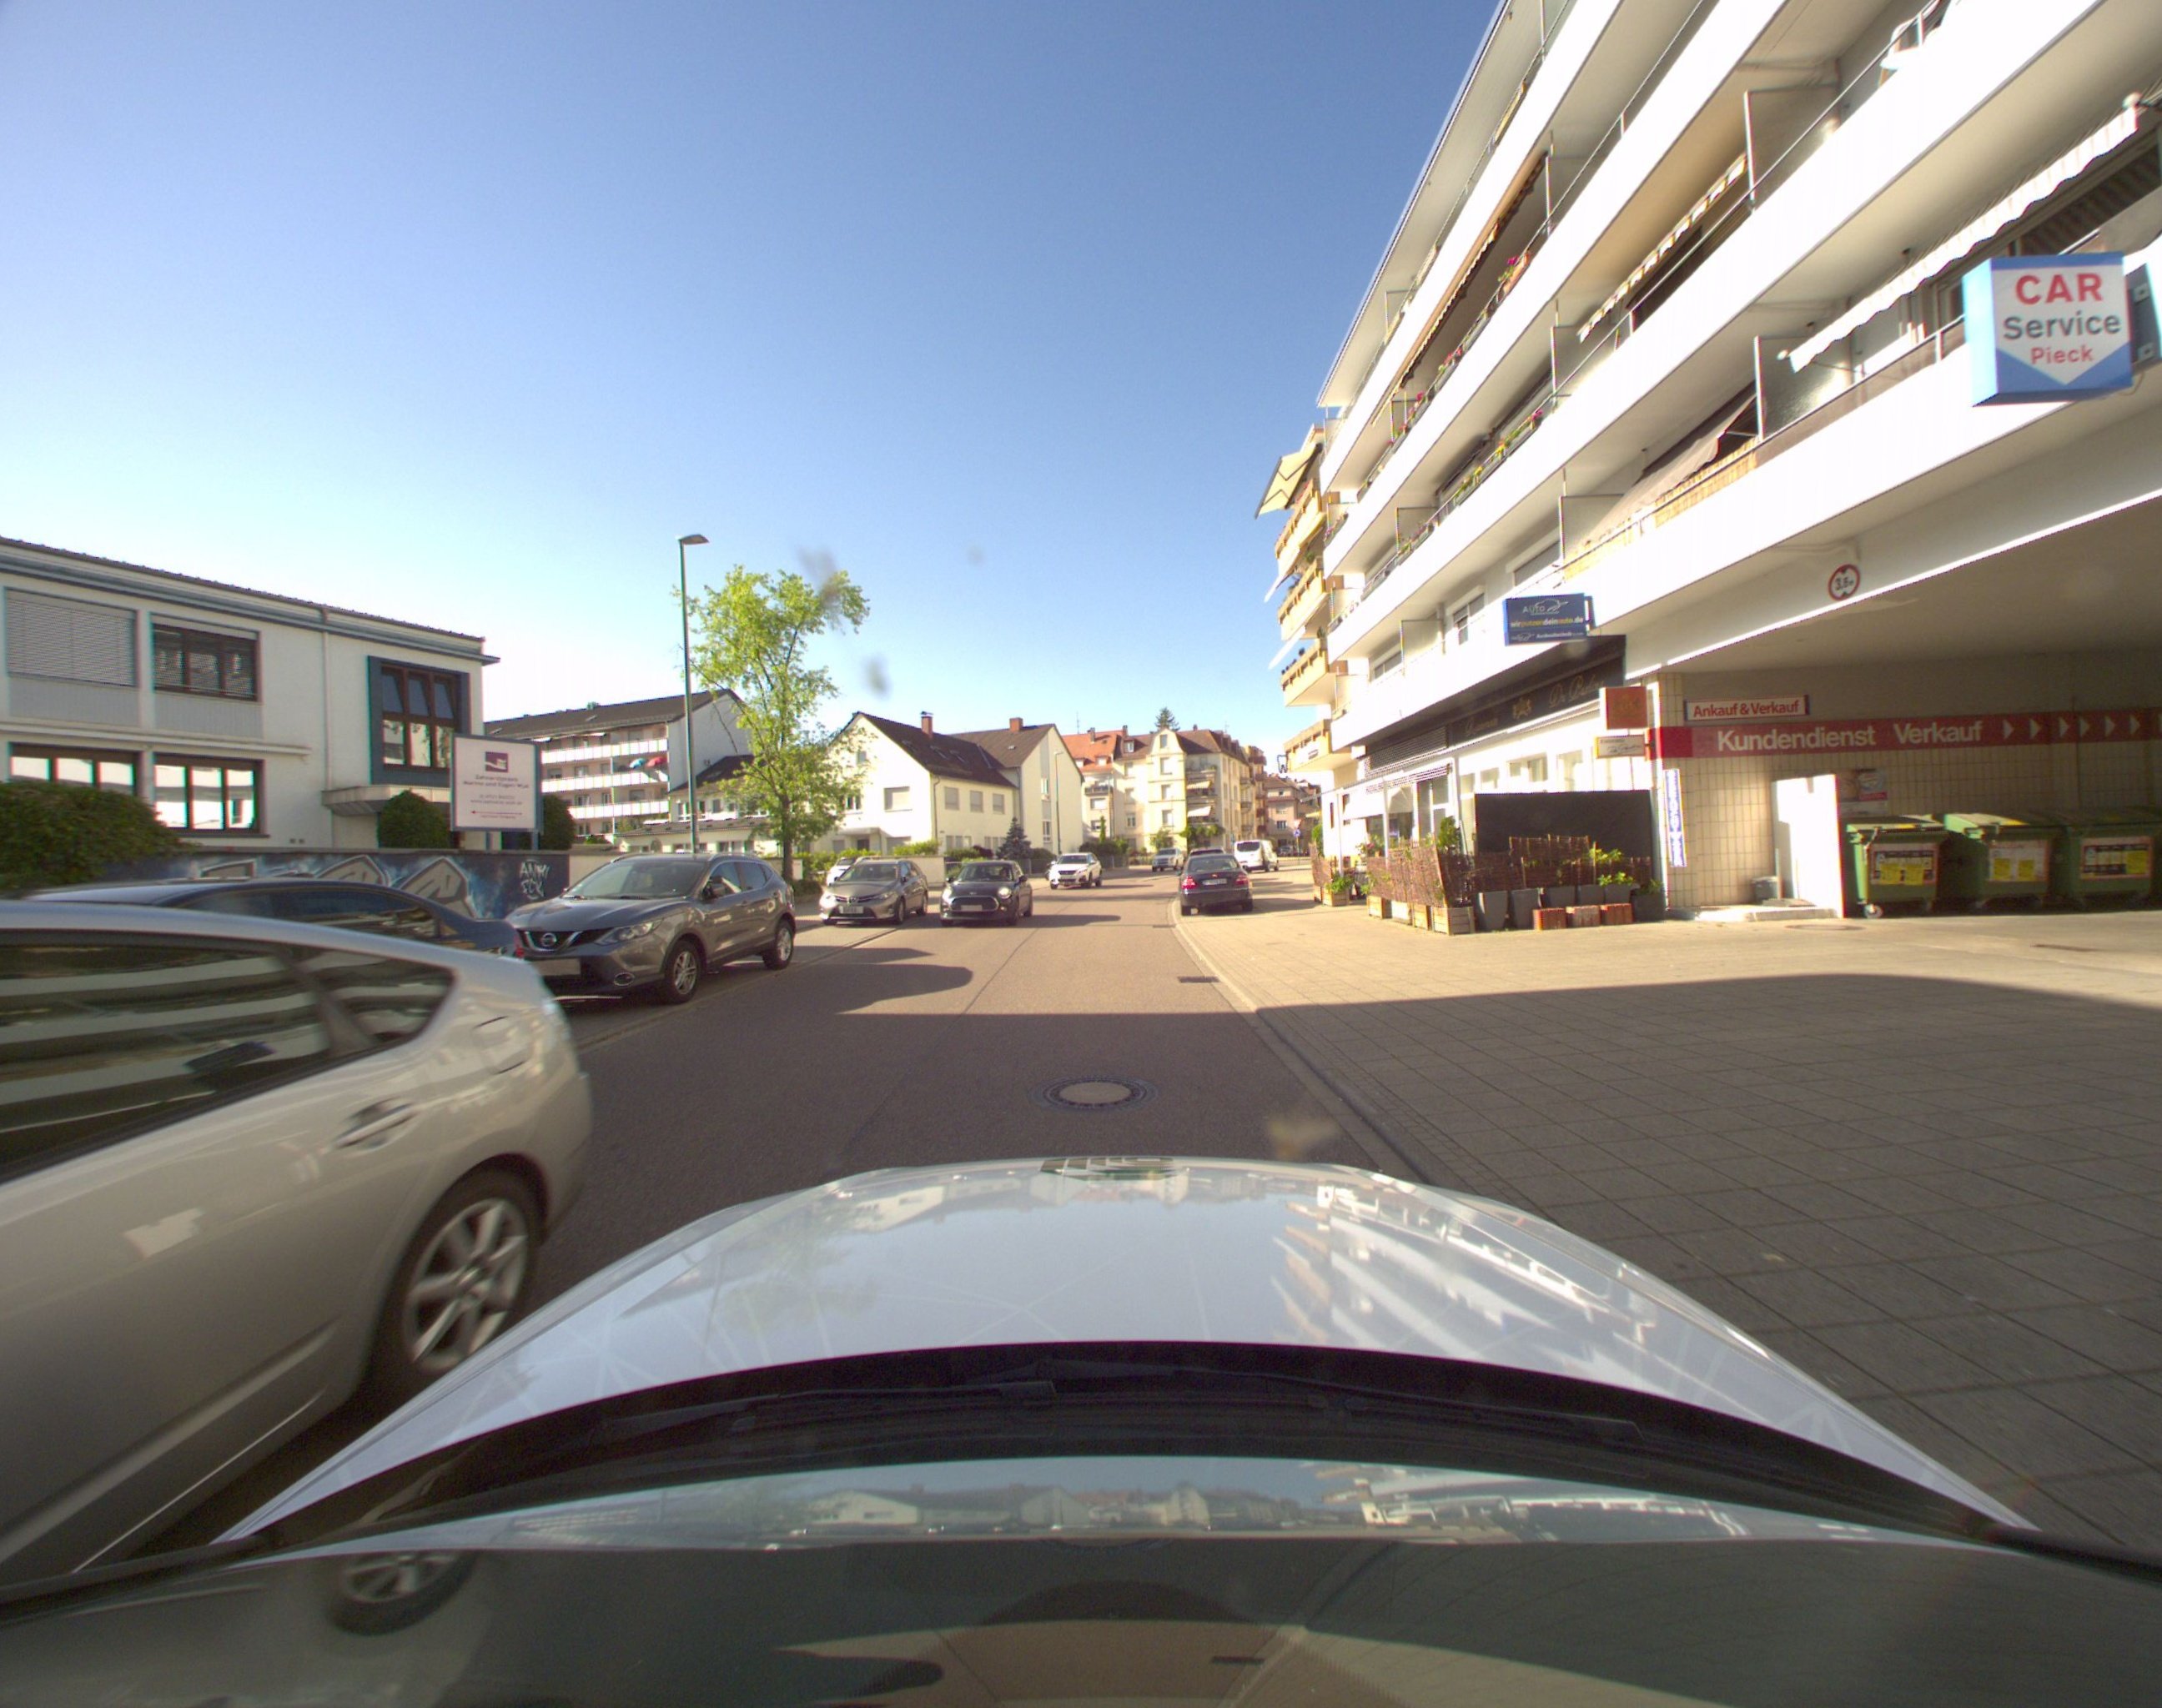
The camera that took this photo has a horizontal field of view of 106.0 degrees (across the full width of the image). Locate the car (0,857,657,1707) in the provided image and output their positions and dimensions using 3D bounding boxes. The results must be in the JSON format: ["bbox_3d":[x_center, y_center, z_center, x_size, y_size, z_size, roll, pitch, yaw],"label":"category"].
[{"bbox_3d":[-2.586,0.780,1.088,1.719,1.485,4.108,-2,0,2],"label":"car"}]

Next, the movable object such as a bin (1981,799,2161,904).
[{"bbox_3d":[14.552,-0.007,11.947,1.286,1.420,1.186,-2,-3,2],"label":"movable object such as a bin"}]

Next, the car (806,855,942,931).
[{"bbox_3d":[-4.833,0.836,19.820,1.987,1.534,4.918,-2,0,0],"label":"car"}]

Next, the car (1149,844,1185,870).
[{"bbox_3d":[6.613,0.218,62.418,1.975,1.785,4.537,-3,0,15],"label":"car"}]

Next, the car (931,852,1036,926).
[{"bbox_3d":[-2.181,0.843,19.152,1.733,1.513,3.732,-3,-3,3],"label":"car"}]

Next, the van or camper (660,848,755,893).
[{"bbox_3d":[-22.604,1.011,49.267,5.173,2.398,2.161,-4,-2,22],"label":"van or camper"}]

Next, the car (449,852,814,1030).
[{"bbox_3d":[-4.874,0.803,9.710,1.713,1.586,4.423,-2,0,2],"label":"car"}]

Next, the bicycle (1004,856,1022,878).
[{"bbox_3d":[-4.103,0.796,49.301,0.453,1.250,1.934,-2,-3,13],"label":"bicycle"}]

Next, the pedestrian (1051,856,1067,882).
[{"bbox_3d":[-1.427,0.978,53.022,0.676,1.704,0.828,-3,-3,22],"label":"pedestrian"}]

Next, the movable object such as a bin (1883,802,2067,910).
[{"bbox_3d":[13.104,0.048,11.997,1.325,1.467,1.162,-2,-3,1],"label":"movable object such as a bin"}]

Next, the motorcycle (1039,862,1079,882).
[{"bbox_3d":[-1.252,1.005,46.056,2.038,1.019,0.953,1,2,27],"label":"motorcycle"}]

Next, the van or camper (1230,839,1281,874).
[{"bbox_3d":[10.791,0.105,50.135,2.002,1.947,4.729,-5,-1,23],"label":"van or camper"}]

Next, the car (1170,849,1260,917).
[{"bbox_3d":[3.395,0.685,20.831,1.959,1.450,5.015,-2,-1,9],"label":"car"}]

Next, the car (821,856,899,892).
[{"bbox_3d":[-10.093,0.933,37.395,1.783,1.556,3.206,-3,-3,24],"label":"car"}]

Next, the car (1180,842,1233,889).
[{"bbox_3d":[5.046,0.521,32.201,1.805,1.653,4.573,-2,-3,11],"label":"car"}]

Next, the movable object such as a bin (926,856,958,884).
[{"bbox_3d":[-7.744,0.898,45.492,1.272,1.490,1.232,-3,-3,17],"label":"movable object such as a bin"}]

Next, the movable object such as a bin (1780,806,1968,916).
[{"bbox_3d":[11.642,0.125,12.034,1.457,1.500,1.264,-2,-3,0],"label":"movable object such as a bin"}]

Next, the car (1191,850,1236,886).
[{"bbox_3d":[6.056,0.579,36.877,1.706,1.408,4.328,-5,-1,11],"label":"car"}]

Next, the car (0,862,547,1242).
[{"bbox_3d":[-5.092,0.820,4.091,1.719,1.465,4.441,-2,0,2],"label":"car"}]

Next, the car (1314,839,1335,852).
[{"bbox_3d":[36.372,-1.216,121.730,2.410,1.811,4.749,-2,0,23],"label":"car"}]

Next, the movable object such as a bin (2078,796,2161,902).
[{"bbox_3d":[16.058,-0.084,11.911,1.320,1.506,1.242,-2,-3,1],"label":"movable object such as a bin"}]

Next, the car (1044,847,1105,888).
[{"bbox_3d":[-0.220,0.692,37.641,1.906,1.725,4.350,-2,-3,11],"label":"car"}]
